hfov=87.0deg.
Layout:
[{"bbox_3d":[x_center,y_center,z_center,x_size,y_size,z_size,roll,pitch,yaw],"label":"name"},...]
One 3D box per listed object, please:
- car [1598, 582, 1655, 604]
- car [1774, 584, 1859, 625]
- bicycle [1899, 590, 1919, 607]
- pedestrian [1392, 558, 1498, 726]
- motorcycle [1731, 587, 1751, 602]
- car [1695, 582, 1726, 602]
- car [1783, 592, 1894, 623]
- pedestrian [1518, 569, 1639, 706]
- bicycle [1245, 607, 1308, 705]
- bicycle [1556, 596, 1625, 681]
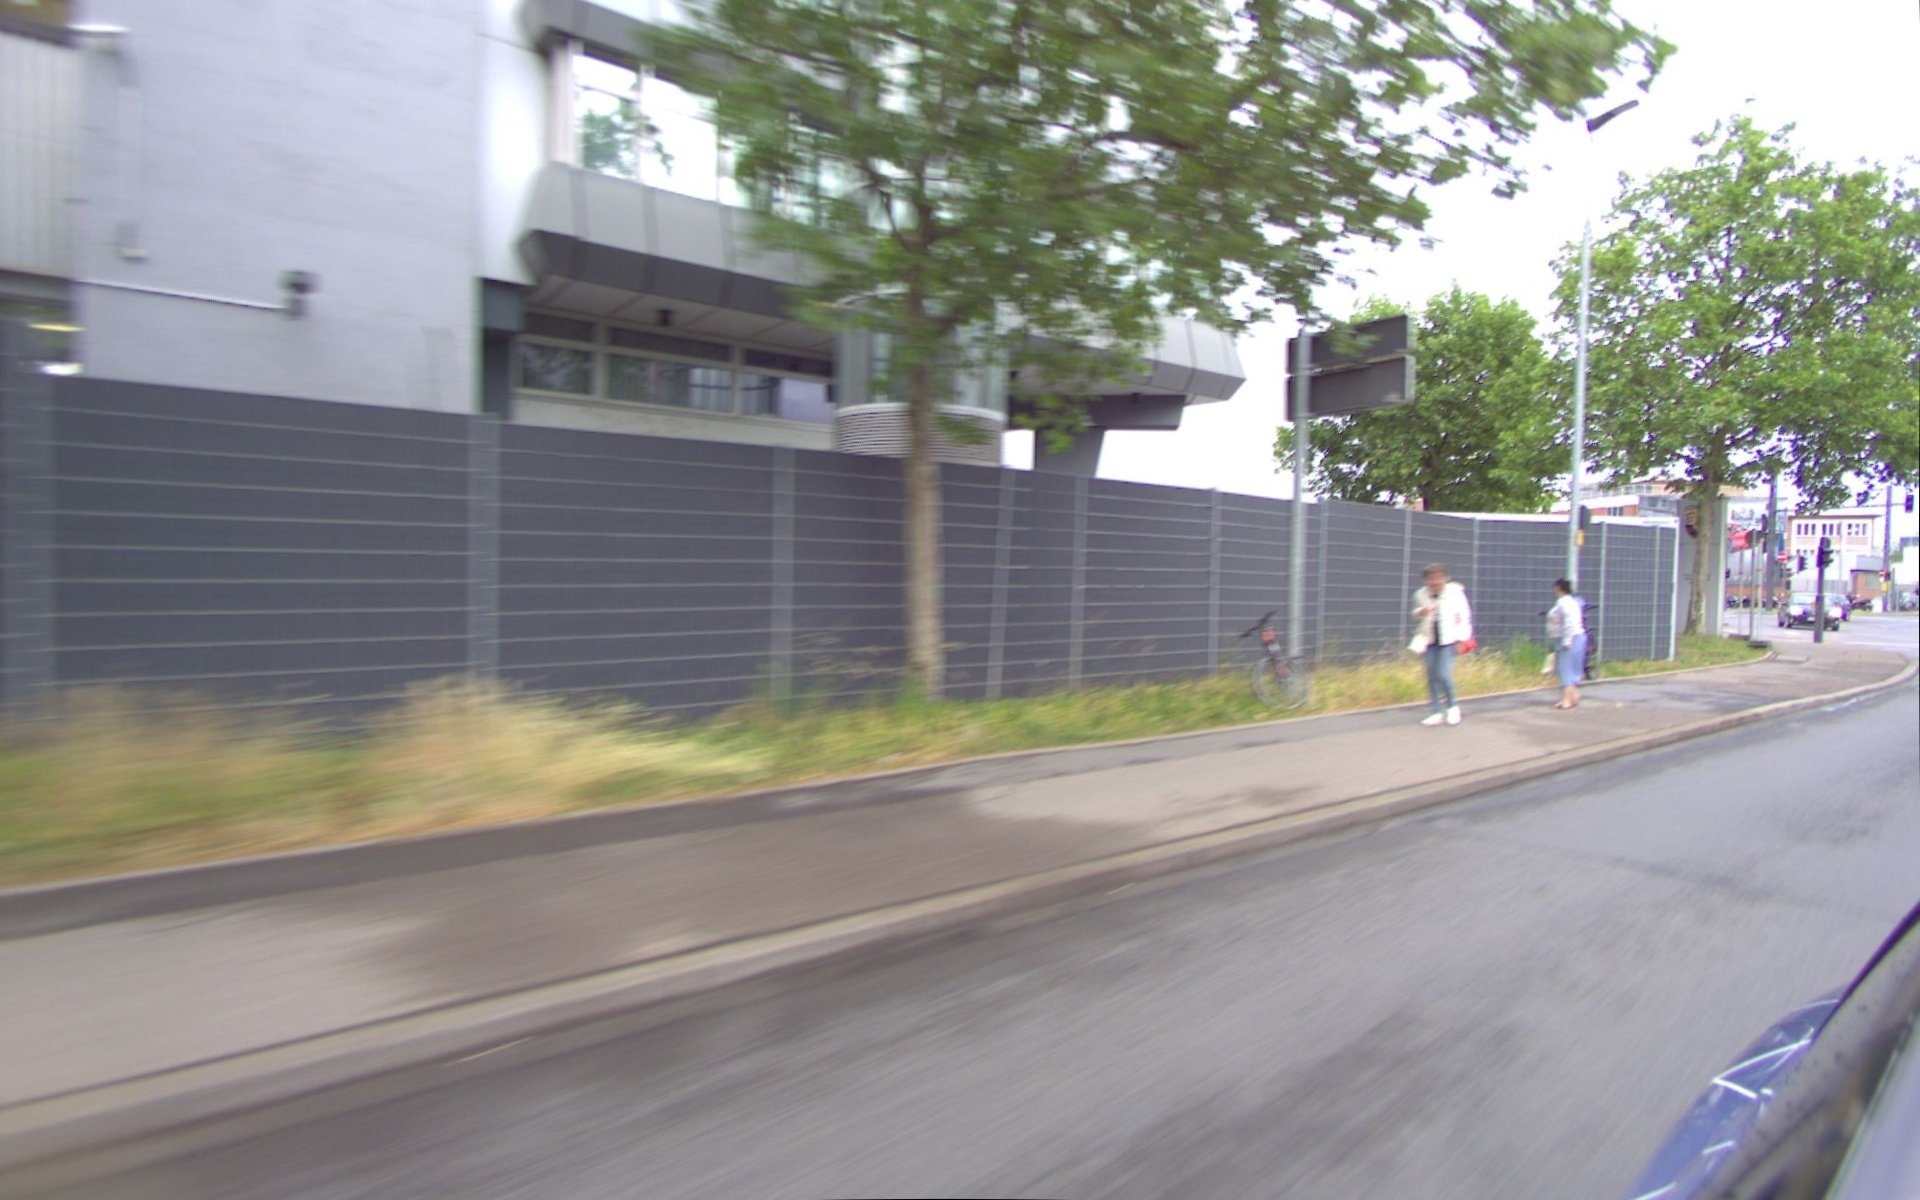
[{"bbox_3d":[47.656,-0.526,72.429,1.690,1.443,3.996,0,1,5],"label":"car"},{"bbox_3d":[35.383,0.159,41.915,1.677,1.526,3.978,-1,2,25],"label":"car"},{"bbox_3d":[67.181,-0.149,70.934,2.041,1.144,0.420,-2,1,12],"label":"bicycle"},{"bbox_3d":[4.917,0.389,10.259,0.709,1.611,0.827,3,2,44],"label":"pedestrian"},{"bbox_3d":[62.886,-0.424,81.483,0.487,1.160,1.719,-2,2,10],"label":"motorcycle"},{"bbox_3d":[61.120,-0.691,82.474,1.611,1.522,3.214,1,2,30],"label":"car"},{"bbox_3d":[45.330,0.389,52.330,4.030,1.492,1.734,-1,2,28],"label":"car"},{"bbox_3d":[7.266,0.416,11.923,0.824,1.539,0.836,1,2,-15],"label":"pedestrian"},{"bbox_3d":[3.607,0.602,11.627,0.505,0.965,1.696,1,2,12],"label":"bicycle"},{"bbox_3d":[9.088,0.518,14.559,1.940,1.132,0.342,-1,2,-44],"label":"bicycle"}]
